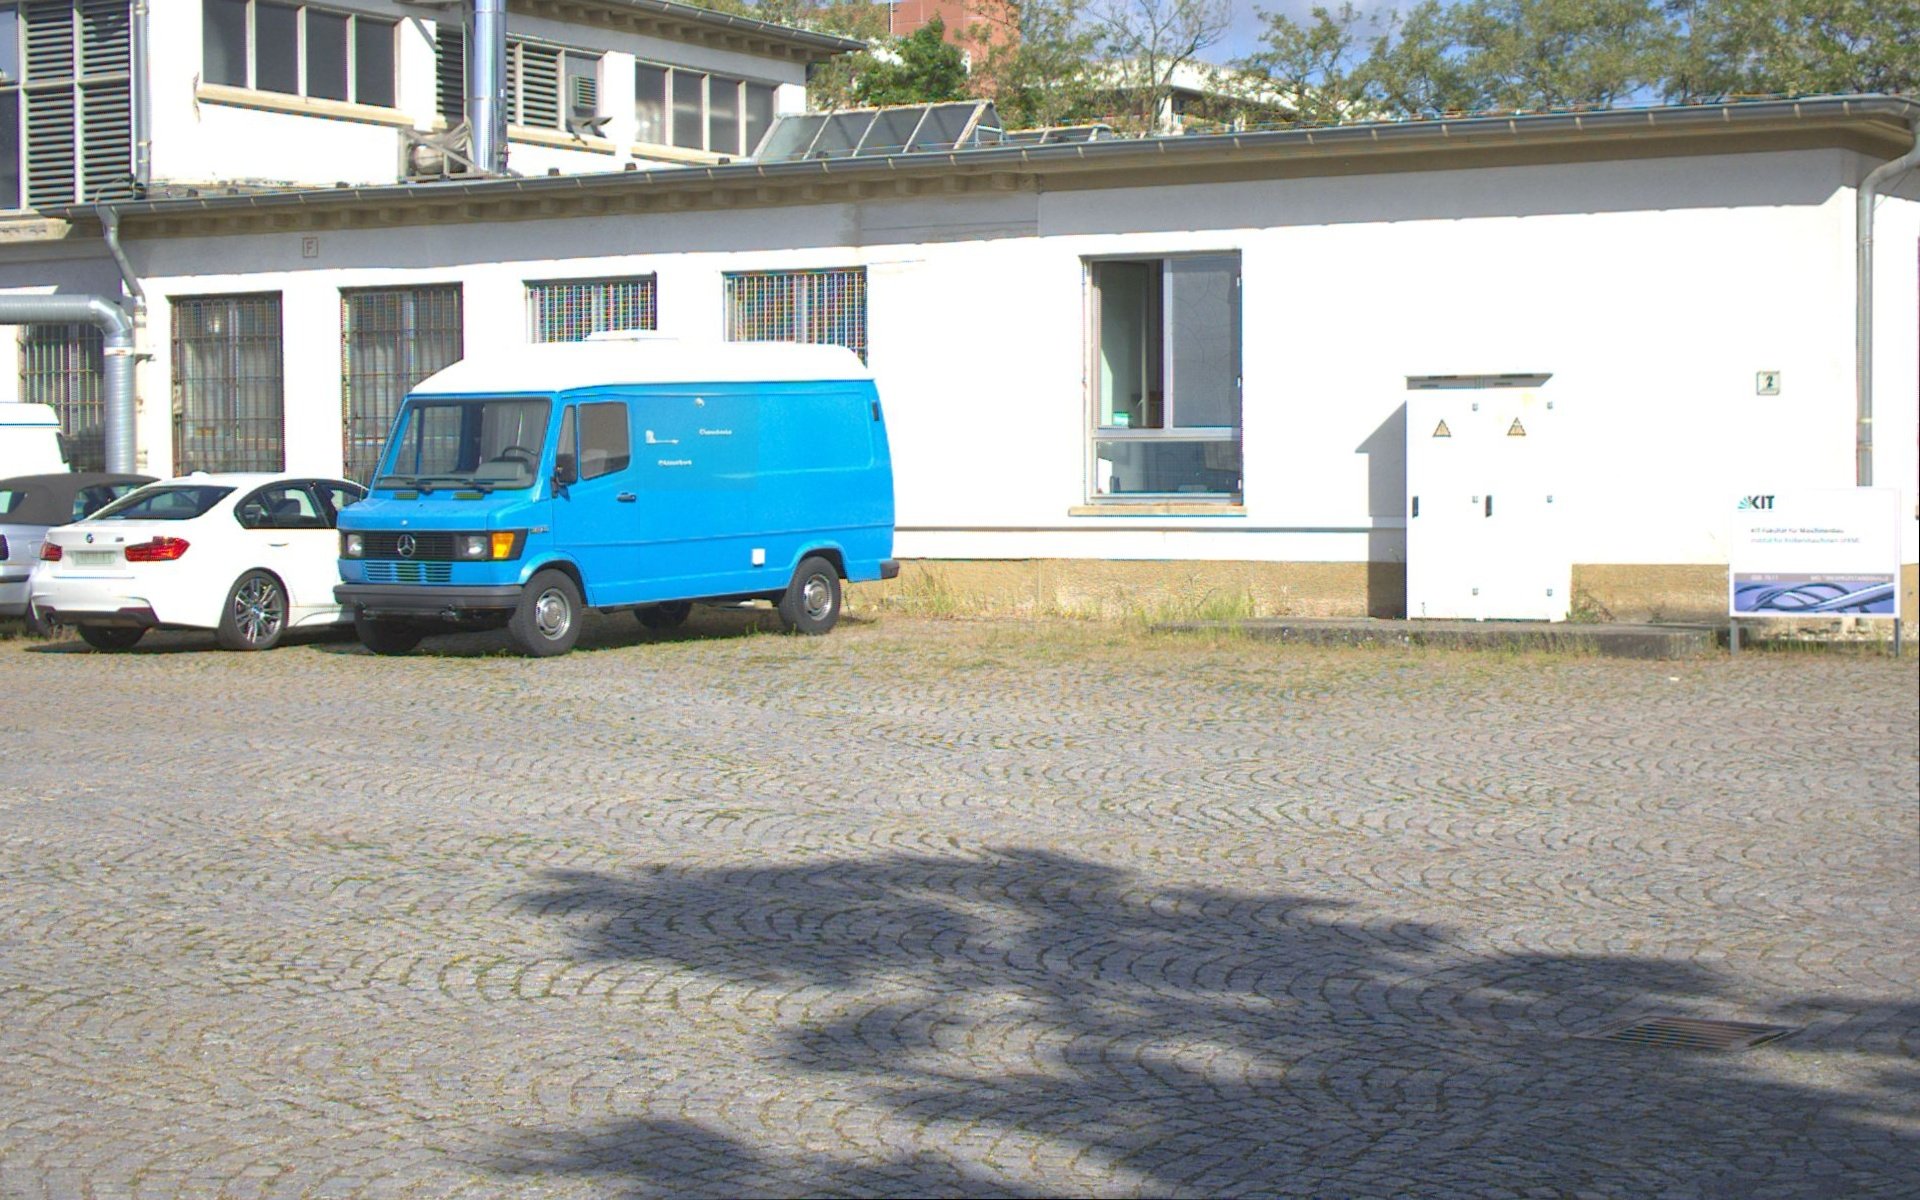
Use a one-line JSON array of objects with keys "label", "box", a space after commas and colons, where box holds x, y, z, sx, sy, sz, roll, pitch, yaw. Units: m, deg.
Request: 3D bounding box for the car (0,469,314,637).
[{"label": "car", "box": [-7.773, -0.469, 30.854, 1.690, 1.393, 3.824, 2, 3, 34]}]

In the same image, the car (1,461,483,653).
[{"label": "car", "box": [-5.891, -0.401, 28.559, 1.735, 1.400, 3.732, 1, 4, 34]}]

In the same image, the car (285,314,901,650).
[{"label": "car", "box": [-2.852, -0.968, 28.068, 2.087, 2.474, 5.229, 1, 2, 34]}]

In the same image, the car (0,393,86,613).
[{"label": "car", "box": [-10.643, -0.886, 31.828, 2.007, 2.074, 4.796, 1, 2, 34]}]
